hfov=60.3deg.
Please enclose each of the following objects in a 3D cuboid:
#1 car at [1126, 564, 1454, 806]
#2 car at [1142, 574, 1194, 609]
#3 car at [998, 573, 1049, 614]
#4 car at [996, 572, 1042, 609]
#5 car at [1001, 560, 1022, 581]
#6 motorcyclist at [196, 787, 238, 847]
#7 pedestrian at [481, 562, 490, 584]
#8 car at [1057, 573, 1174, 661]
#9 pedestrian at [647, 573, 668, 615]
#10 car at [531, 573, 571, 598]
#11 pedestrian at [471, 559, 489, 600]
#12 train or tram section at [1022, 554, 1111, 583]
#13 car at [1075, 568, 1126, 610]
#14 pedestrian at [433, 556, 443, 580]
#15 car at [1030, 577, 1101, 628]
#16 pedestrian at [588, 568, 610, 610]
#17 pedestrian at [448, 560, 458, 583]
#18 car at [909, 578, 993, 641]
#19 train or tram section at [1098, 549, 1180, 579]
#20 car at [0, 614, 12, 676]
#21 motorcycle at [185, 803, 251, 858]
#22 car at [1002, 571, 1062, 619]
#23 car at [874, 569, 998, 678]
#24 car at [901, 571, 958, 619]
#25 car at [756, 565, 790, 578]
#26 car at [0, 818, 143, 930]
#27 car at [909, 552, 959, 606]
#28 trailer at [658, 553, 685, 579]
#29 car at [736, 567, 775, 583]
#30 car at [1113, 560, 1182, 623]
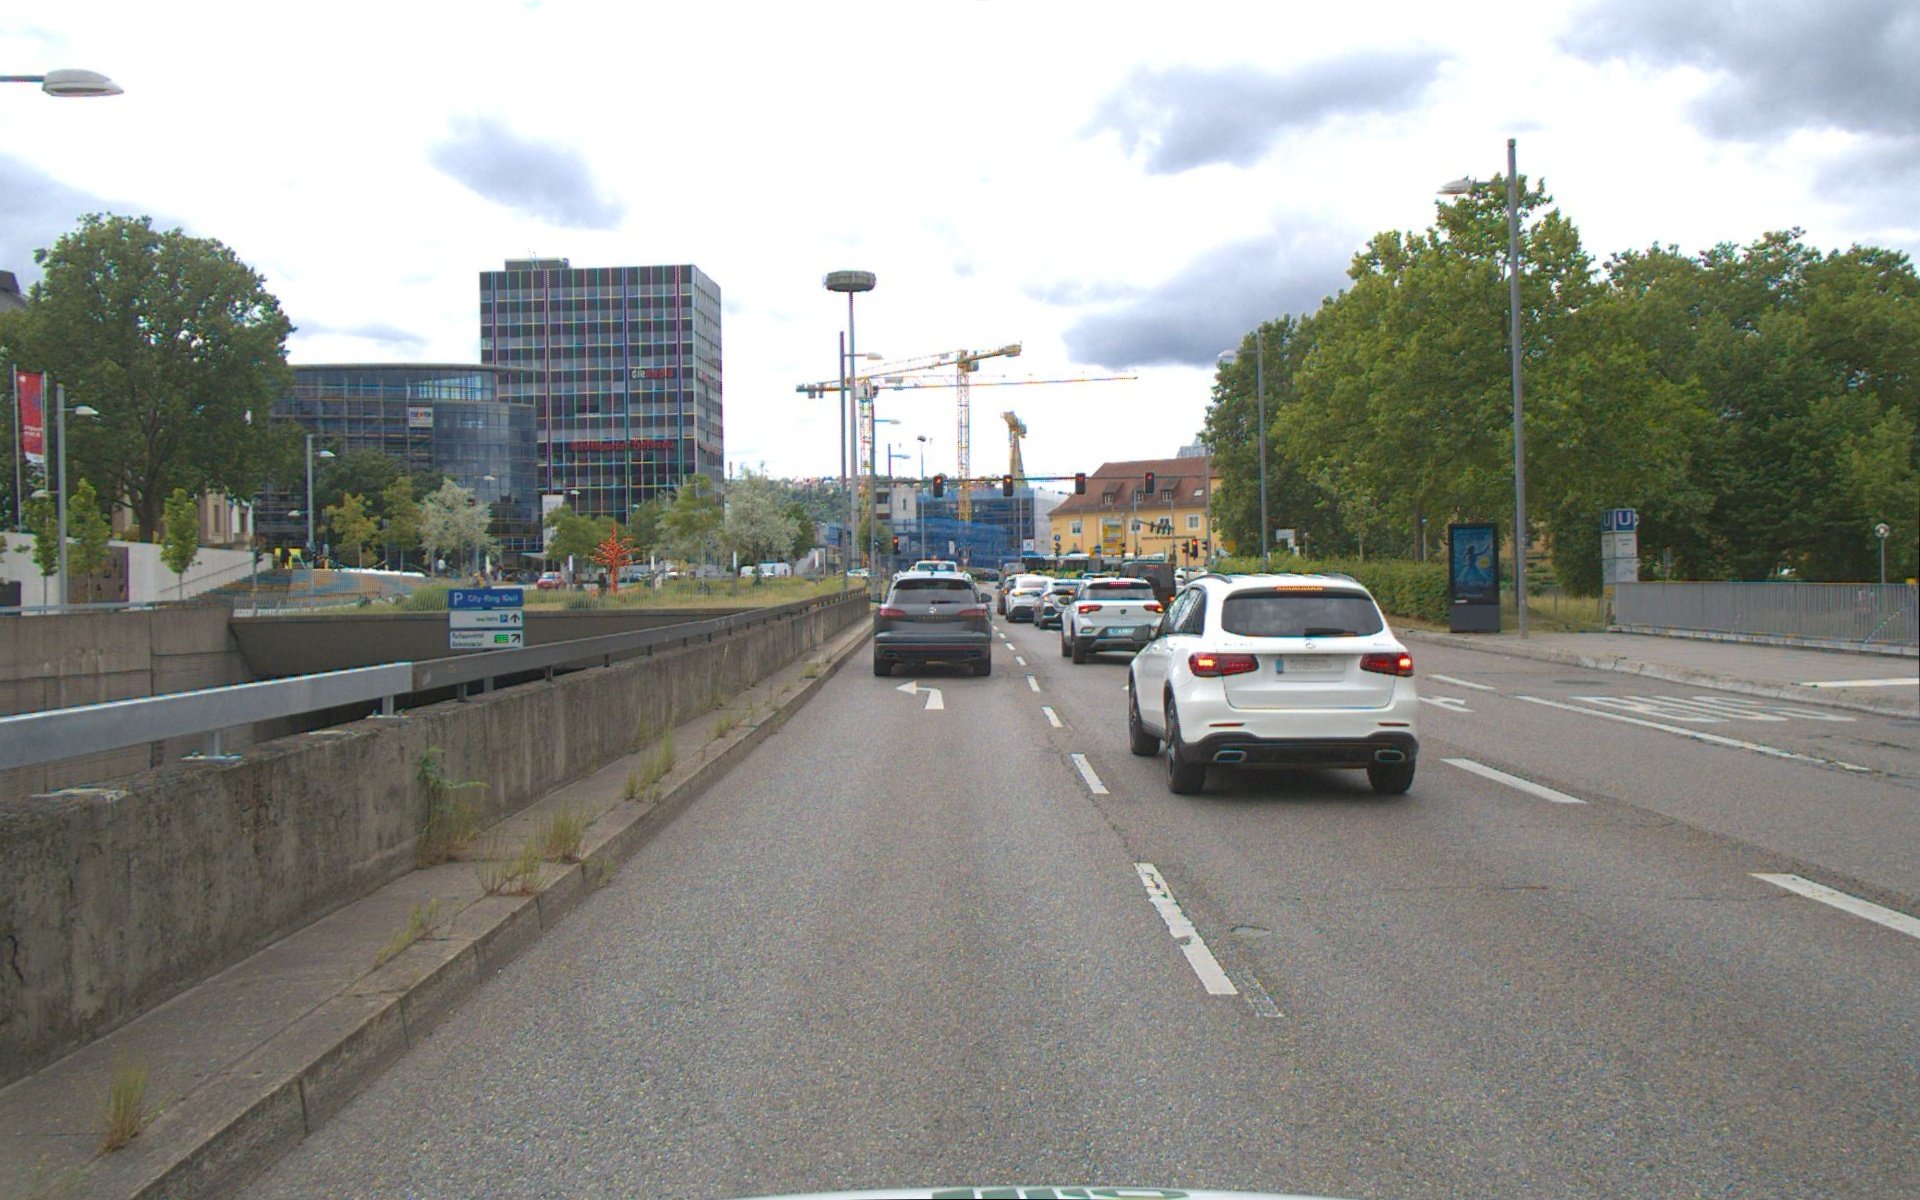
[{"bbox_3d":[2.520,0.576,13.760,1.887,1.682,4.490,0,0,1],"label":"car"},{"bbox_3d":[9.141,-0.366,72.984,1.722,1.472,3.632,1,0,-2],"label":"car"},{"bbox_3d":[2.451,-0.253,64.869,1.887,1.556,4.048,0,0,1],"label":"car"},{"bbox_3d":[2.492,-0.416,71.156,1.887,1.556,4.048,0,0,1],"label":"car"},{"bbox_3d":[4.294,-2.453,138.514,1.586,1.656,4.000,1,0,0],"label":"car"},{"bbox_3d":[-18.663,5.457,41.575,0.656,1.375,0.718,-5,-2,-2],"label":"motorcyclist"},{"bbox_3d":[-43.724,-2.493,152.373,0.728,2.048,0.788,-2,2,-21],"label":"pedestrian"},{"bbox_3d":[2.918,0.289,31.869,1.887,1.577,4.490,0,0,1],"label":"car"},{"bbox_3d":[-14.972,-0.313,81.873,0.842,2.048,0.629,-1,2,-1],"label":"pedestrian"},{"bbox_3d":[-32.130,-1.133,130.117,2.131,1.887,4.734,-1,1,-3],"label":"car"},{"bbox_3d":[-24.936,-1.084,85.899,0.716,2.047,0.628,-1,6,-8],"label":"pedestrian"},{"bbox_3d":[11.858,-3.528,184.662,10.225,3.062,2.586,1,0,37],"label":"train or tram section"},{"bbox_3d":[6.090,-0.491,71.858,1.871,1.726,4.012,1,0,0],"label":"car"},{"bbox_3d":[-46.518,-2.864,147.424,0.728,2.048,0.788,-2,2,-21],"label":"pedestrian"},{"bbox_3d":[3.100,0.046,49.332,1.887,1.457,4.490,0,0,1],"label":"car"},{"bbox_3d":[-17.791,-0.547,81.497,0.781,2.048,0.829,-2,2,-28],"label":"pedestrian"},{"bbox_3d":[-45.199,-2.540,147.371,0.728,2.048,0.788,-2,2,-21],"label":"pedestrian"},{"bbox_3d":[-0.232,0.188,40.282,1.912,1.408,3.931,1,1,-1],"label":"car"},{"bbox_3d":[19.335,-3.847,178.803,8.779,3.062,2.584,1,0,39],"label":"train or tram section"},{"bbox_3d":[-29.037,1.395,46.916,1.953,1.793,3.999,-4,0,-1],"label":"car"},{"bbox_3d":[-18.640,5.770,41.592,0.671,1.117,2.050,-4,-2,-1],"label":"motorcycle"},{"bbox_3d":[2.405,-0.185,56.048,1.887,1.556,4.490,0,0,1],"label":"car"},{"bbox_3d":[-0.406,0.335,27.973,1.912,1.680,4.000,1,1,-1],"label":"car"},{"bbox_3d":[-1.057,-0.204,58.066,1.912,1.627,3.931,1,1,-1],"label":"car"},{"bbox_3d":[-23.286,-3.540,206.177,3.916,1.596,1.832,1,0,33],"label":"car"},{"bbox_3d":[-16.942,5.017,30.541,1.739,1.515,4.144,-2,-2,-2],"label":"car"},{"bbox_3d":[-1.025,-0.845,65.525,1.912,2.053,3.931,1,1,-1],"label":"car"},{"bbox_3d":[-30.957,-3.685,177.683,1.996,2.650,5.508,1,2,-1],"label":"trailer"},{"bbox_3d":[-22.696,-2.775,183.559,4.030,1.638,1.823,1,0,35],"label":"car"},{"bbox_3d":[6.379,-0.299,56.605,1.871,2.049,4.012,1,0,0],"label":"car"}]
